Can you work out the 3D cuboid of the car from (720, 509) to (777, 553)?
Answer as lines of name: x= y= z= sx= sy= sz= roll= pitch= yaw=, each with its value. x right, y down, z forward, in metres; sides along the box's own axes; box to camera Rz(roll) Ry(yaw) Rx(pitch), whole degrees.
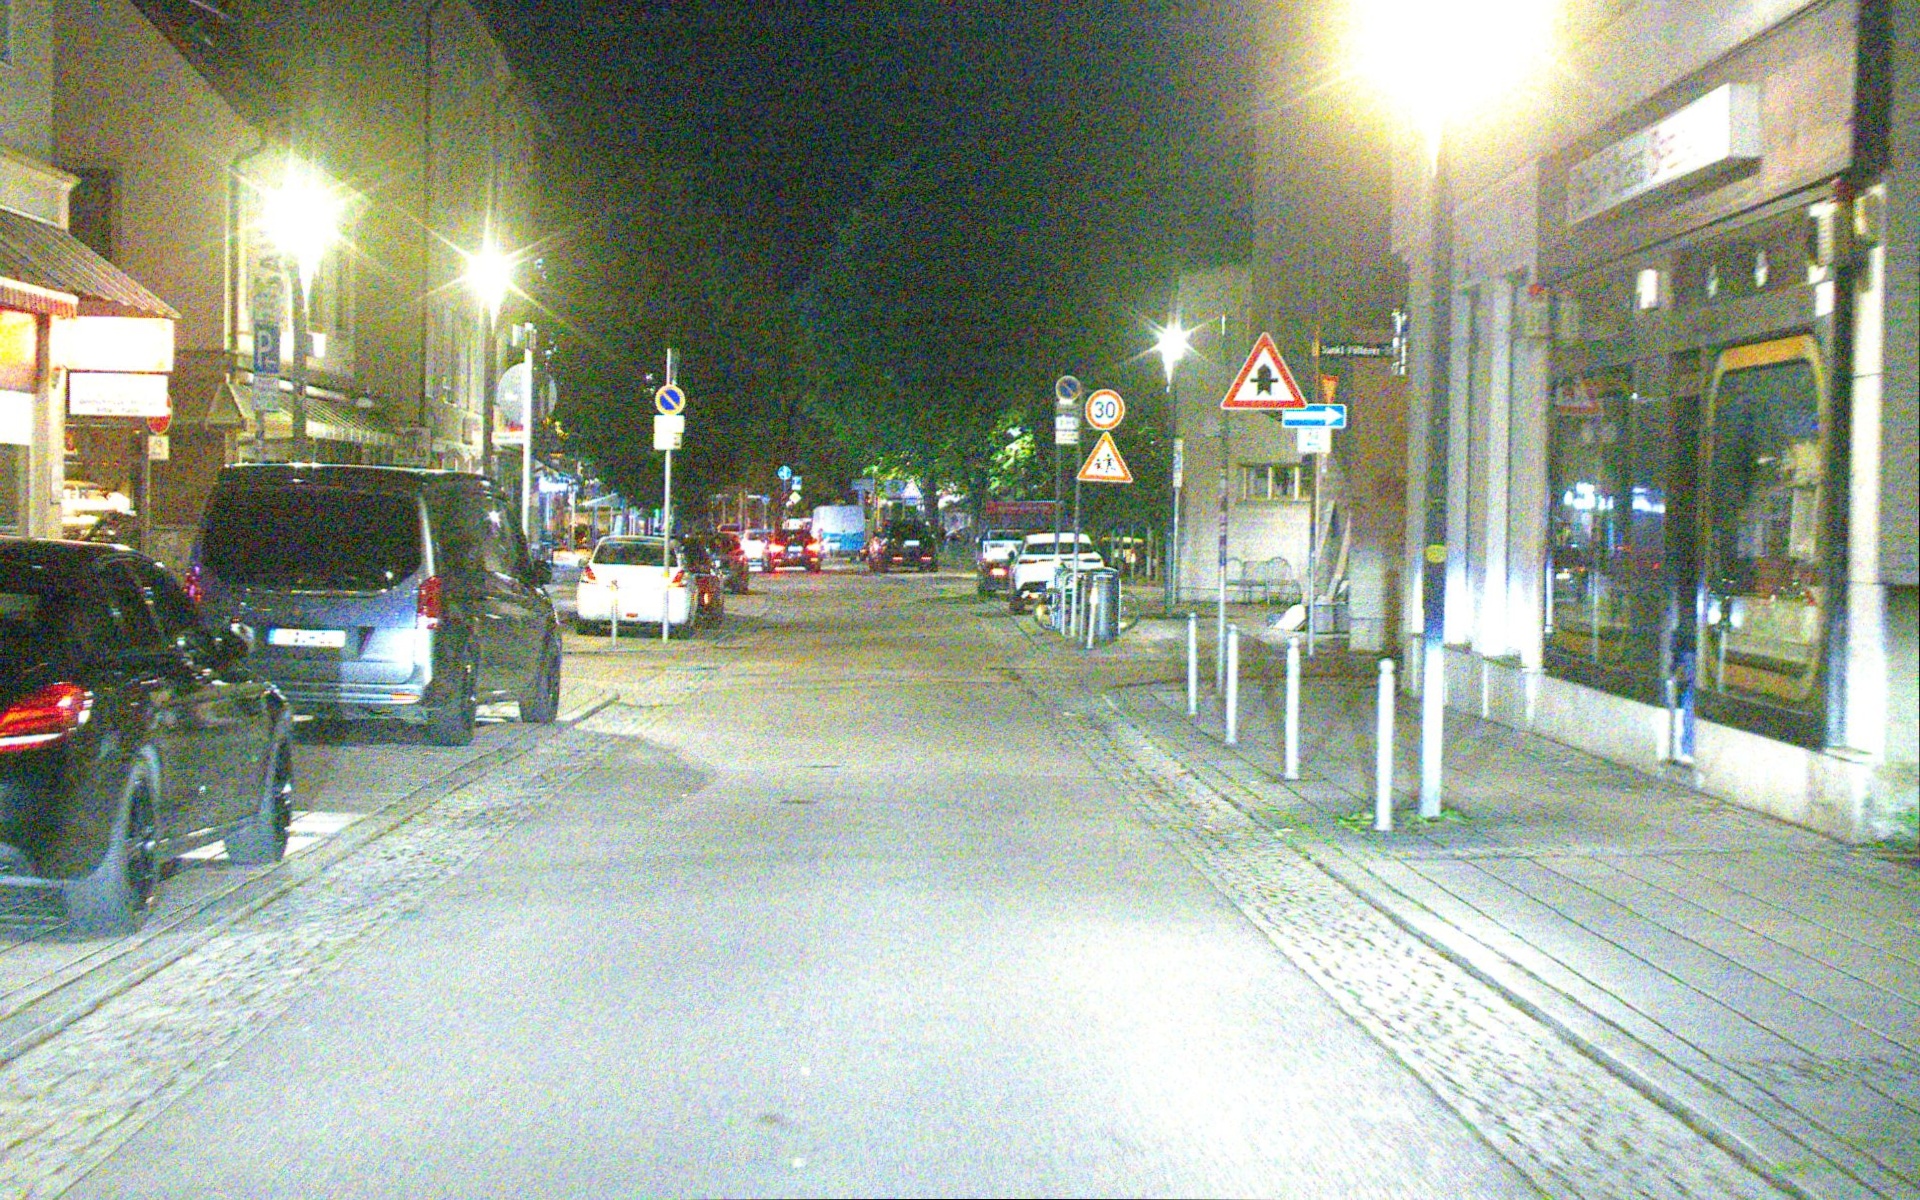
car: x=-8.247 y=-2.694 z=133.698 sx=1.993 sy=1.697 sz=4.001 roll=0 pitch=1 yaw=-6

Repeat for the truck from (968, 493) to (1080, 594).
truck: x=1.465 y=-1.360 z=81.299 sx=2.336 sy=2.304 sz=5.781 roll=0 pitch=1 yaw=-2

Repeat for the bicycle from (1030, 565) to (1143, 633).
bicycle: x=1.992 y=-0.019 z=54.332 sx=1.754 sy=1.058 sz=0.346 roll=0 pitch=1 yaw=-4

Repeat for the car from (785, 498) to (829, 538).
car: x=-7.207 y=-3.853 z=161.558 sx=1.839 sy=1.894 sz=3.846 roll=0 pitch=1 yaw=-6

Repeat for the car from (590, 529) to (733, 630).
car: x=-4.895 y=-0.379 z=56.959 sx=2.019 sy=1.483 sz=5.008 roll=3 pitch=1 yaw=-2

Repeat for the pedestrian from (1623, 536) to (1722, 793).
pedestrian: x=4.346 y=0.385 z=20.976 sx=0.501 sy=1.542 sz=0.480 roll=1 pitch=1 yaw=5

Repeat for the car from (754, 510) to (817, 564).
car: x=-6.100 y=-2.194 z=119.722 sx=1.993 sy=1.817 sz=4.001 roll=0 pitch=1 yaw=-6

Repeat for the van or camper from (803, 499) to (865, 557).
van or camper: x=-5.225 y=-2.988 z=142.387 sx=2.108 sy=2.309 sz=4.263 roll=-1 pitch=2 yaw=-8

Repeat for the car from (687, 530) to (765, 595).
car: x=-5.833 y=-0.957 z=85.480 sx=1.673 sy=1.538 sz=4.232 roll=1 pitch=1 yaw=-7

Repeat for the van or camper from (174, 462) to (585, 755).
van or camper: x=-4.210 y=0.005 z=25.822 sx=1.846 sy=1.935 sz=5.153 roll=1 pitch=1 yaw=4

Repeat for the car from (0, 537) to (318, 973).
car: x=-3.820 y=0.475 z=13.692 sx=1.716 sy=1.408 sz=4.386 roll=2 pitch=1 yaw=-1

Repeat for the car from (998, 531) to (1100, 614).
car: x=1.675 y=-0.556 z=65.670 sx=1.789 sy=1.486 sz=4.059 roll=-1 pitch=1 yaw=0

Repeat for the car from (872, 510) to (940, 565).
car: x=-1.845 y=-2.136 z=116.384 sx=1.814 sy=1.822 sz=4.348 roll=0 pitch=1 yaw=-7

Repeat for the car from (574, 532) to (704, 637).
car: x=-4.813 y=-0.264 z=51.927 sx=1.728 sy=1.471 sz=3.847 roll=1 pitch=1 yaw=-2
